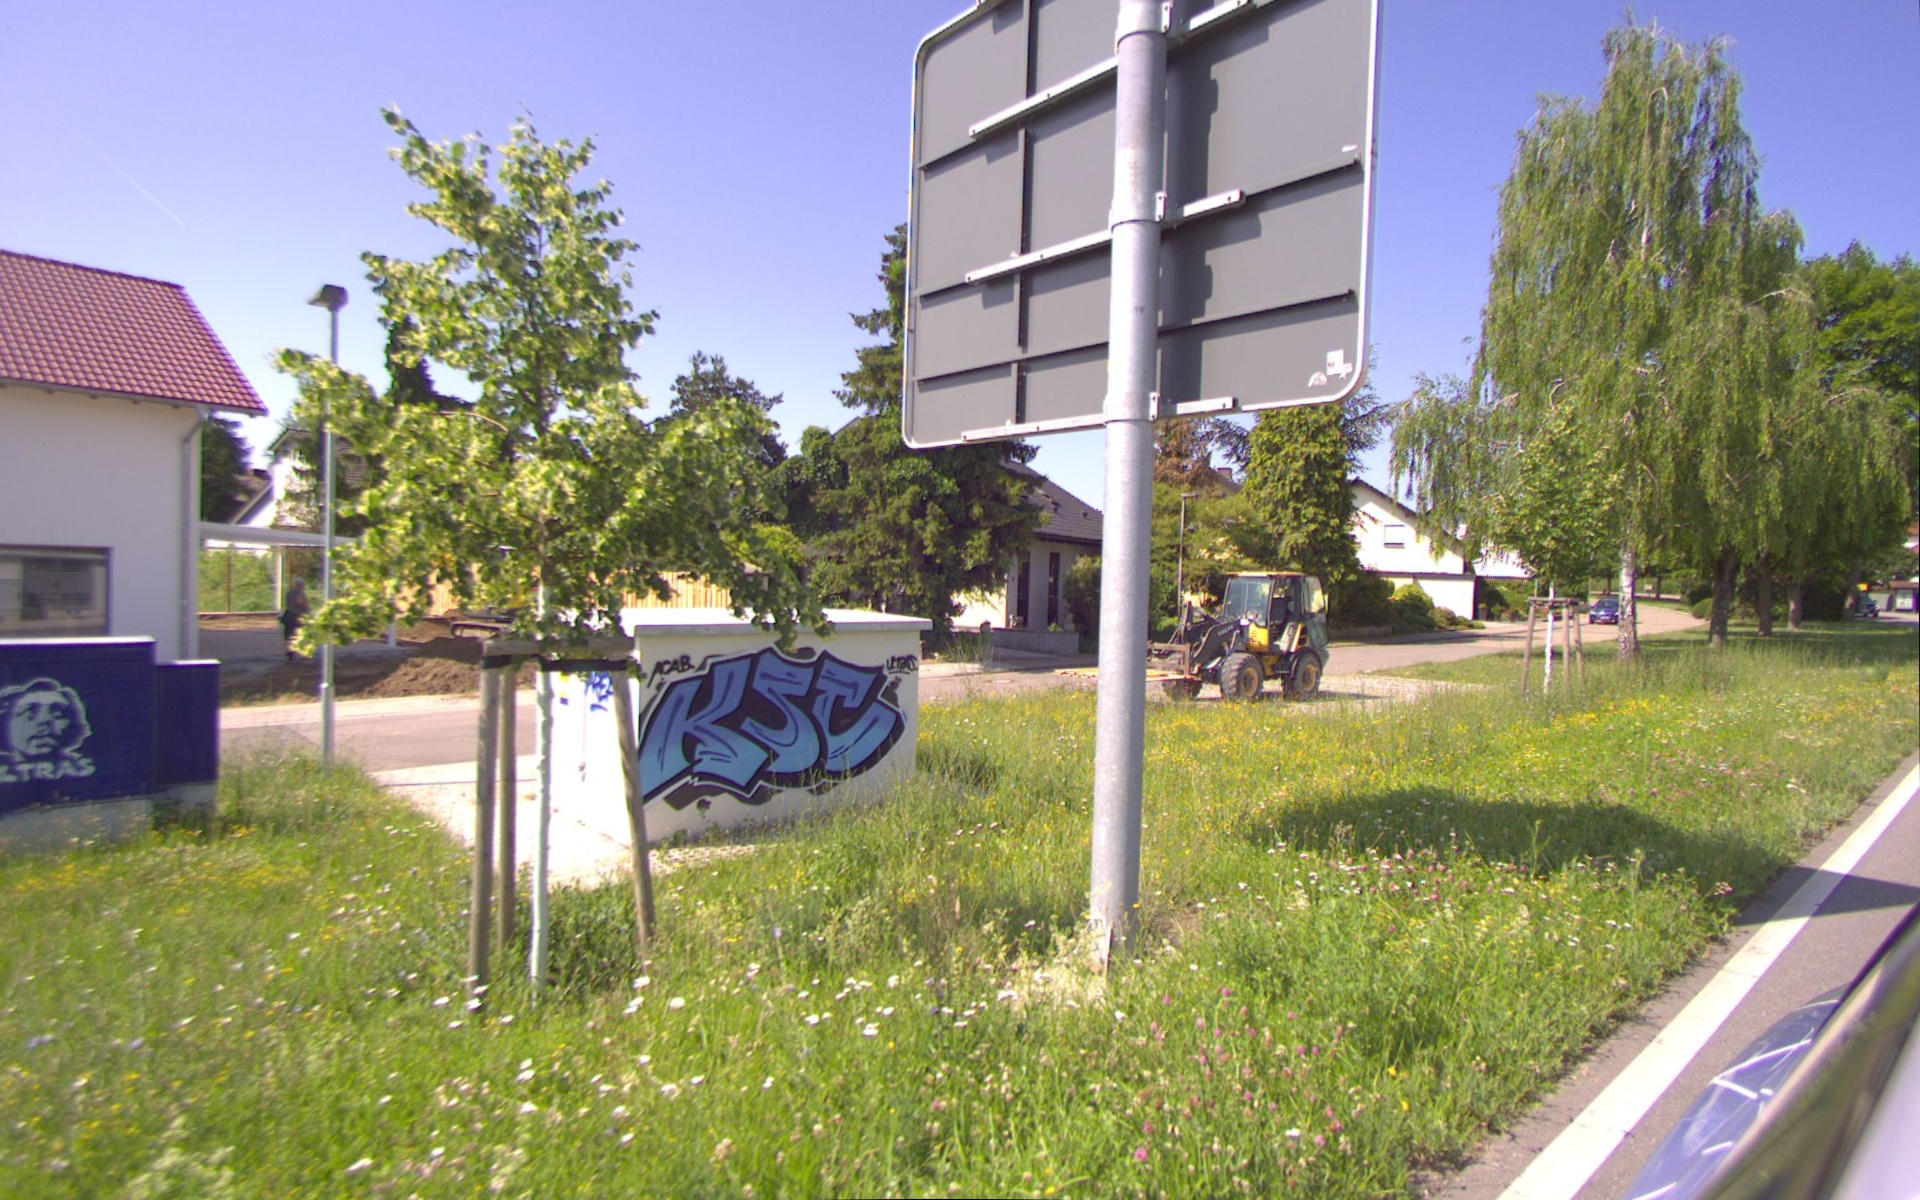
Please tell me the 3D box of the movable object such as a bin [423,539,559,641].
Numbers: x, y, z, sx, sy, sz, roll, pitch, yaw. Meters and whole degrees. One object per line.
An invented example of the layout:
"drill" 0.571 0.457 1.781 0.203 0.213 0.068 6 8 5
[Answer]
"movable object such as a bin" -12.554 -0.283 27.148 2.839 2.589 1.778 1 1 16

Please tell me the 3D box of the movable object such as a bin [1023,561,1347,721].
"movable object such as a bin" 4.414 0.578 18.901 6.824 2.493 2.320 -1 1 -41

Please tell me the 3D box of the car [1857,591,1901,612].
"car" 69.662 0.081 76.762 1.921 1.581 3.952 0 1 34

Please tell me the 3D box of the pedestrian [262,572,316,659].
"pedestrian" -13.740 0.308 20.736 0.701 1.684 0.717 3 4 -12

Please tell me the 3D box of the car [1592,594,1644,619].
"car" 40.129 0.370 61.707 4.100 1.463 1.859 -1 1 -44
